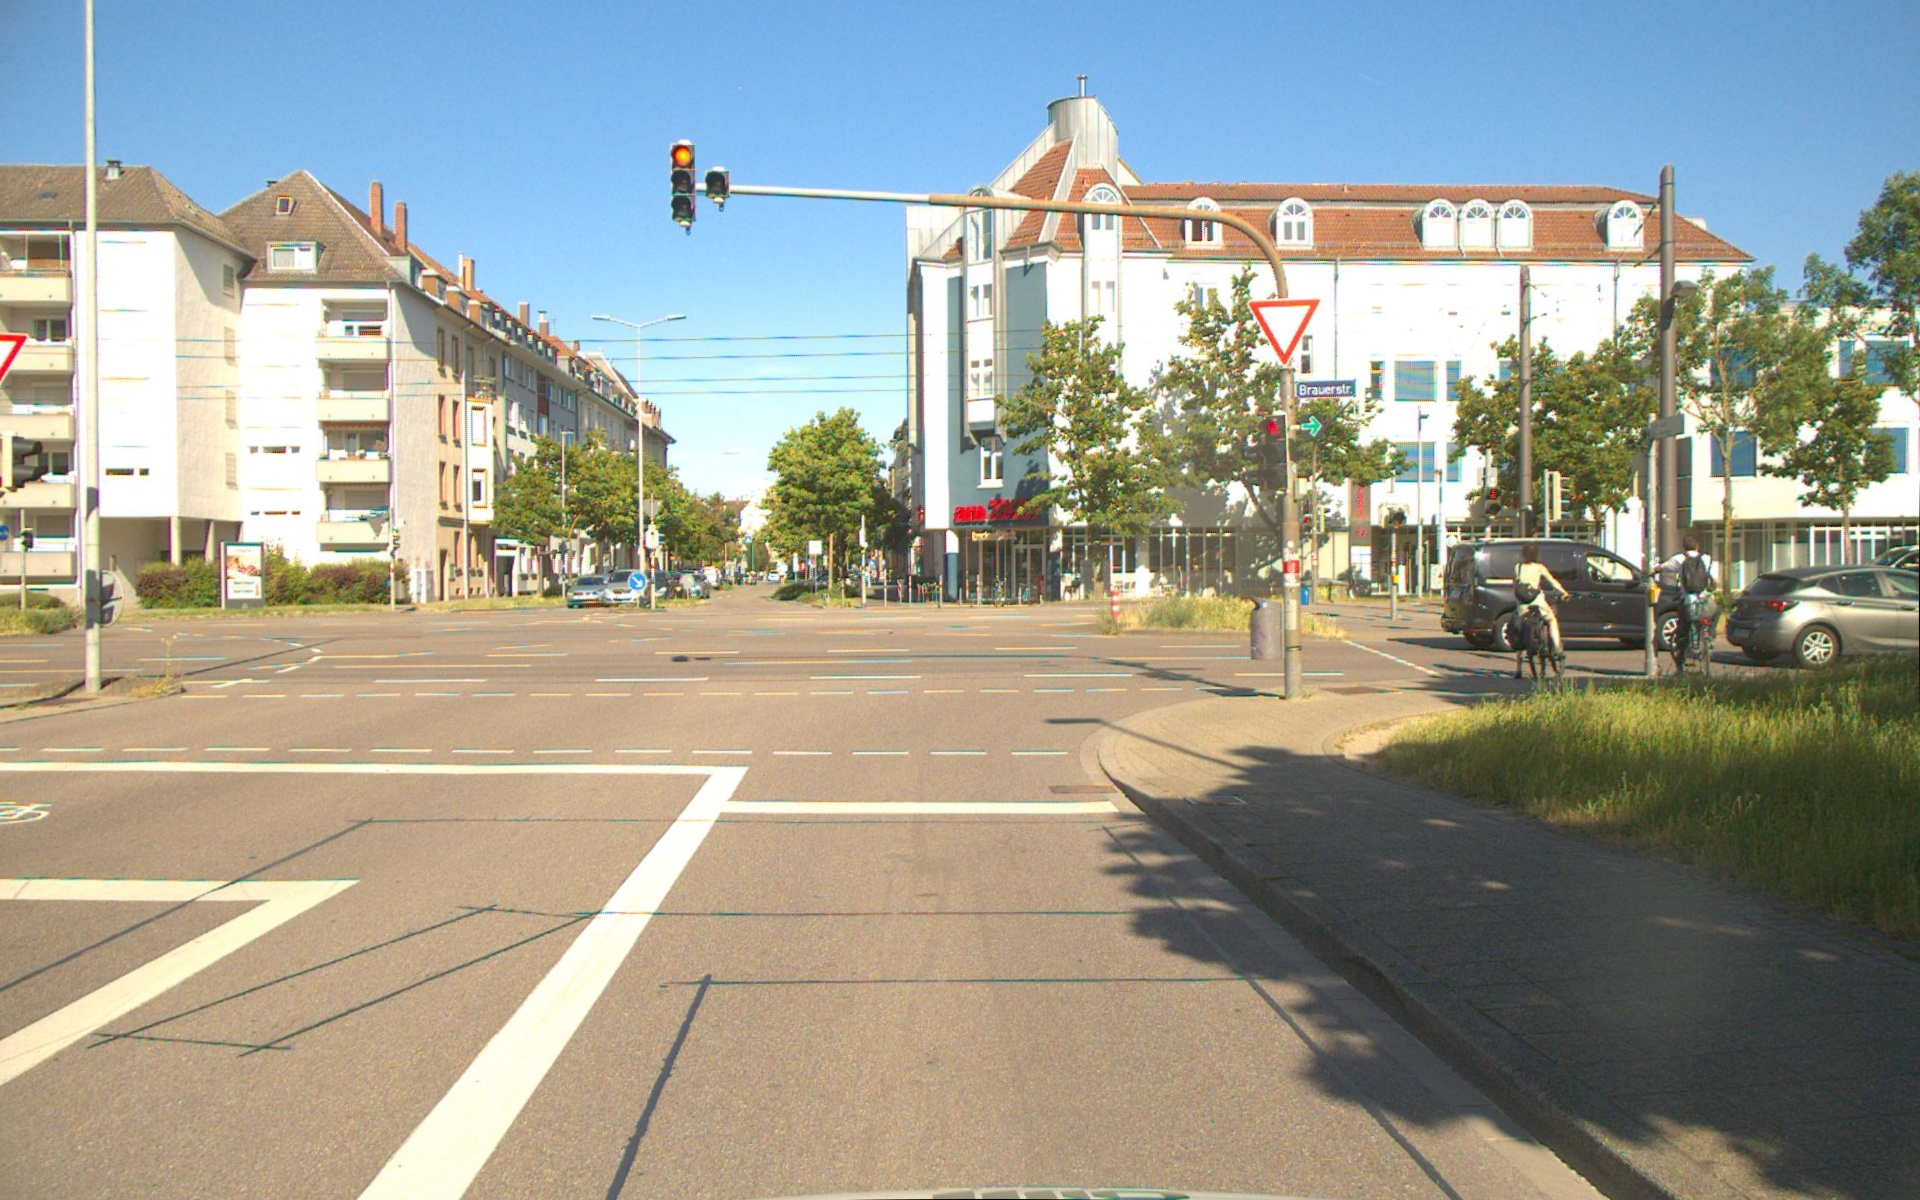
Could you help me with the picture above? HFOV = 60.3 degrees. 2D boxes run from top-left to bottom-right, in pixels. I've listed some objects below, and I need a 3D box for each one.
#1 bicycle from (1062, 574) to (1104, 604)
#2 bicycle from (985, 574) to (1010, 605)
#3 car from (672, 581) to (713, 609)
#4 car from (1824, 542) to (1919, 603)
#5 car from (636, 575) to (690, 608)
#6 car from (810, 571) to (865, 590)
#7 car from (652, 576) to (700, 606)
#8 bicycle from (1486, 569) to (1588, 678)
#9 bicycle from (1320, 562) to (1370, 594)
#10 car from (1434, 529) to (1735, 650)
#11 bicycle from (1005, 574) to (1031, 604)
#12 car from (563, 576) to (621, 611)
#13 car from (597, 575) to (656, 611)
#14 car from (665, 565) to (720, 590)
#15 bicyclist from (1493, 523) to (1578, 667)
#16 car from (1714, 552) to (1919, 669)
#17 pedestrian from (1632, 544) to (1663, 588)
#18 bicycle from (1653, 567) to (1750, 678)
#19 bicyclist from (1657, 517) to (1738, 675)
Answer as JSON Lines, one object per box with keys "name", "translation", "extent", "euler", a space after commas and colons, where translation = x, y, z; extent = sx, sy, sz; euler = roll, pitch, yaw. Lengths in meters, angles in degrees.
{"name": "bicycle", "translation": [4.458, -0.404, 59.990], "extent": [1.479, 1.045, 0.473], "euler": [-1, 1, 7]}
{"name": "bicycle", "translation": [1.304, -0.372, 57.545], "extent": [0.463, 1.045, 1.511], "euler": [-1, 1, -14]}
{"name": "car", "translation": [-15.156, -0.298, 93.916], "extent": [1.654, 1.457, 4.399], "euler": [2, 1, -1]}
{"name": "car", "translation": [26.423, -0.776, 45.371], "extent": [4.405, 1.637, 2.002], "euler": [-1, 1, 6]}
{"name": "car", "translation": [-14.018, -0.418, 78.182], "extent": [1.653, 1.457, 4.400], "euler": [2, 1, 1]}
{"name": "car", "translation": [-8.179, -1.299, 110.376], "extent": [3.503, 1.244, 1.726], "euler": [0, 0, -11]}
{"name": "car", "translation": [-14.374, -0.463, 83.841], "extent": [1.654, 1.457, 4.399], "euler": [2, 1, -1]}
{"name": "bicycle", "translation": [7.740, 0.290, 22.128], "extent": [0.776, 1.371, 2.072], "euler": [-1, 1, 34]}
{"name": "bicycle", "translation": [15.088, -0.870, 64.796], "extent": [1.828, 1.203, 0.561], "euler": [-1, 1, -8]}
{"name": "car", "translation": [10.492, -0.179, 27.964], "extent": [4.393, 1.832, 1.764], "euler": [2, 0, -3]}
{"name": "bicycle", "translation": [2.033, -0.401, 58.108], "extent": [0.464, 1.045, 1.510], "euler": [-1, 1, -15]}
{"name": "car", "translation": [-16.519, -0.308, 74.452], "extent": [1.654, 1.457, 4.399], "euler": [2, 1, -1]}
{"name": "car", "translation": [-14.384, -0.306, 71.464], "extent": [1.654, 1.457, 4.399], "euler": [2, 1, -1]}
{"name": "car", "translation": [-22.682, -1.882, 140.319], "extent": [4.418, 2.049, 1.997], "euler": [0, 0, -6]}
{"name": "bicyclist", "translation": [7.658, -0.073, 21.986], "extent": [0.776, 1.856, 1.132], "euler": [-1, 1, 34]}
{"name": "car", "translation": [13.477, 0.172, 24.541], "extent": [3.780, 1.605, 1.693], "euler": [2, 0, -1]}
{"name": "pedestrian", "translation": [27.660, -1.373, 66.561], "extent": [0.970, 1.753, 0.653], "euler": [-1, 1, -5]}
{"name": "bicycle", "translation": [9.781, 0.268, 21.777], "extent": [0.776, 1.371, 2.255], "euler": [-1, 1, 34]}
{"name": "bicyclist", "translation": [9.638, -0.059, 21.600], "extent": [0.776, 1.993, 1.008], "euler": [-1, 1, 34]}
